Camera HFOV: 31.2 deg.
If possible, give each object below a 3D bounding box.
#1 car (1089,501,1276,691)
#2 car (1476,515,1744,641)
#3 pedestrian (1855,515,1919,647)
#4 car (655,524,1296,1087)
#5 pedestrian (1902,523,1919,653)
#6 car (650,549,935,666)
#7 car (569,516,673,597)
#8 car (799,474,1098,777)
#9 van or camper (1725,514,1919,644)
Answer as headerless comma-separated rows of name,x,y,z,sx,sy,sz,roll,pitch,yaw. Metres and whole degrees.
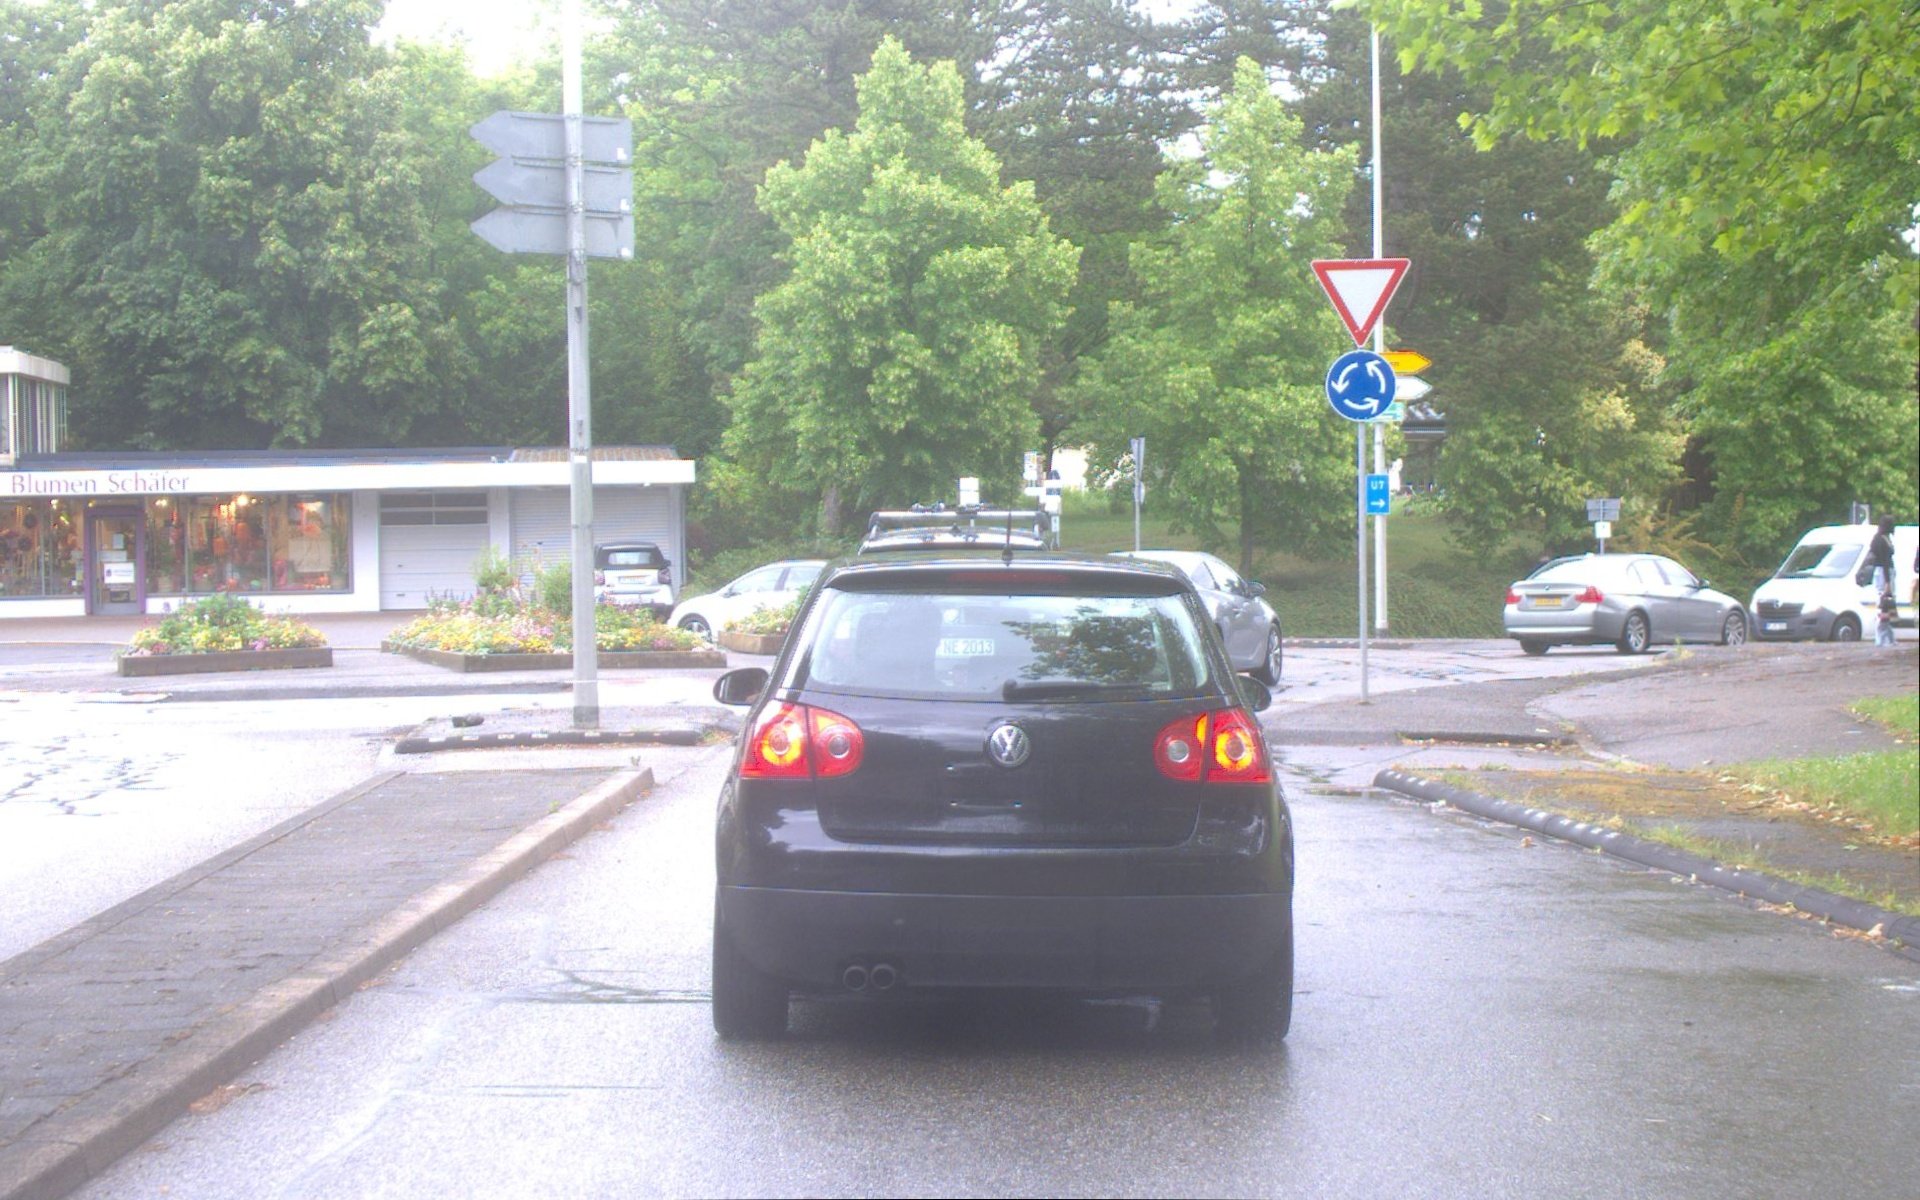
car,2.275,-0.062,35.514,1.765,1.795,4.246,-2,0,3
car,9.120,-0.306,48.050,1.998,1.678,4.023,1,0,39
pedestrian,12.066,-0.250,44.750,0.528,1.707,0.636,1,0,-15
car,0.166,0.539,11.534,1.765,1.533,4.000,1,1,4
pedestrian,12.780,-0.161,45.403,0.634,1.707,0.529,1,0,15
car,-2.648,0.095,53.927,4.139,1.735,1.996,1,0,37
car,-6.629,-0.852,66.918,1.812,1.481,3.832,-2,1,-8
car,-0.153,0.136,23.048,1.764,1.795,4.246,-2,0,-2
van or camper,17.273,-0.385,65.302,5.651,2.370,2.200,0,0,-37
